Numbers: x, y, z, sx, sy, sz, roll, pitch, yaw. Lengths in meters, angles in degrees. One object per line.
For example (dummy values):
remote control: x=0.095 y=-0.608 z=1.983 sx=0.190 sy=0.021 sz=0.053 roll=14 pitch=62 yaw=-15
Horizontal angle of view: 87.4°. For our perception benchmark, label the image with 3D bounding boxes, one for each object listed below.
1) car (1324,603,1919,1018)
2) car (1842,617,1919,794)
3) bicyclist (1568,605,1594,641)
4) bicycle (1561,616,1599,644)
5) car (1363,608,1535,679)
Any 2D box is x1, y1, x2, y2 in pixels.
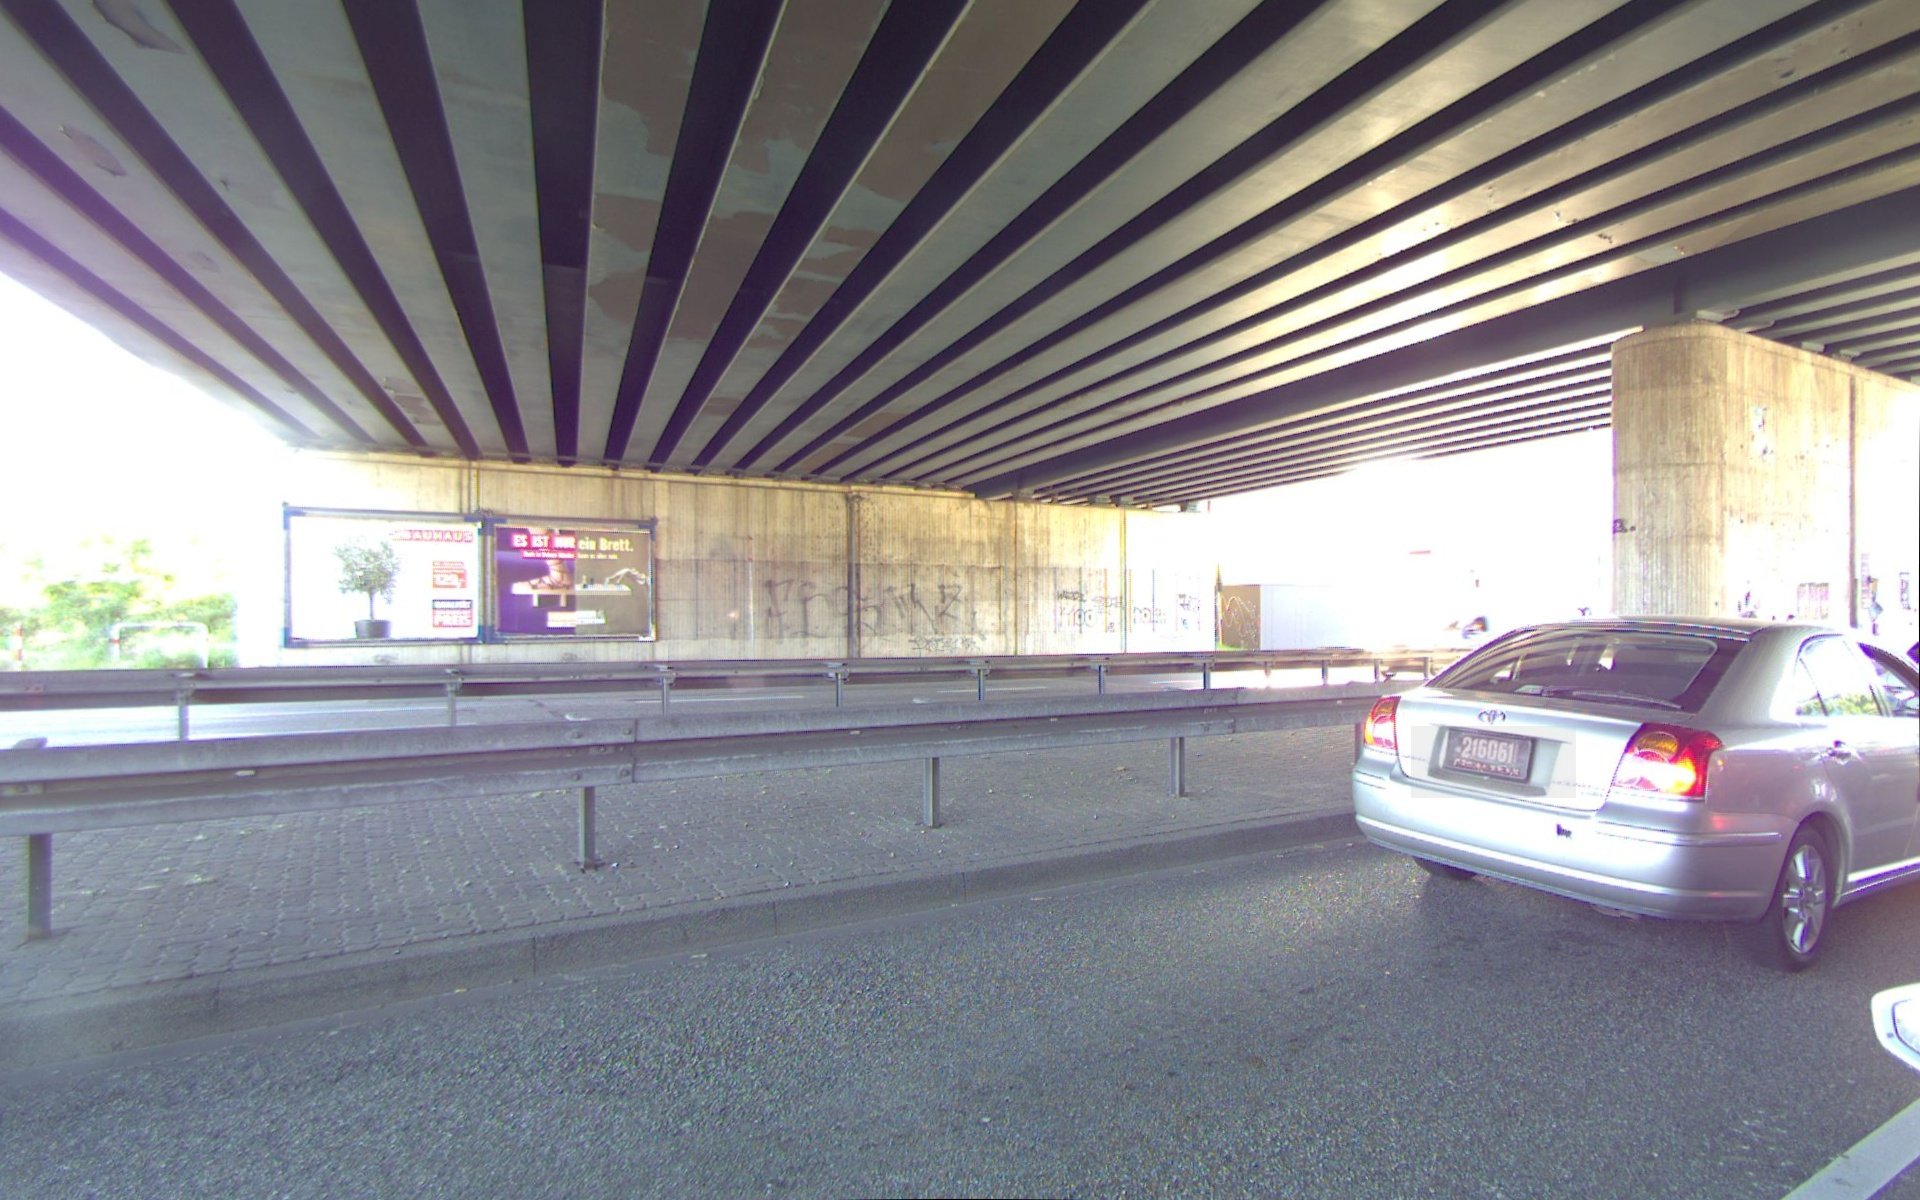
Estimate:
car: x=4.135 y=0.800 z=5.472 sx=4.347 sy=1.474 sz=1.688 roll=1 pitch=0 yaw=-31
car: x=9.593 y=0.901 z=8.865 sx=3.770 sy=1.429 sz=1.683 roll=1 pitch=0 yaw=-32
bicyclist: x=27.301 y=1.005 z=44.129 sx=0.827 sy=1.545 sz=0.624 roll=2 pitch=0 yaw=-30
bicycle: x=27.214 y=1.299 z=44.085 sx=1.856 sy=1.181 sz=0.631 roll=2 pitch=0 yaw=-30
car: x=12.210 y=1.075 z=25.039 sx=4.315 sy=1.638 sz=1.842 roll=1 pitch=-2 yaw=-32
